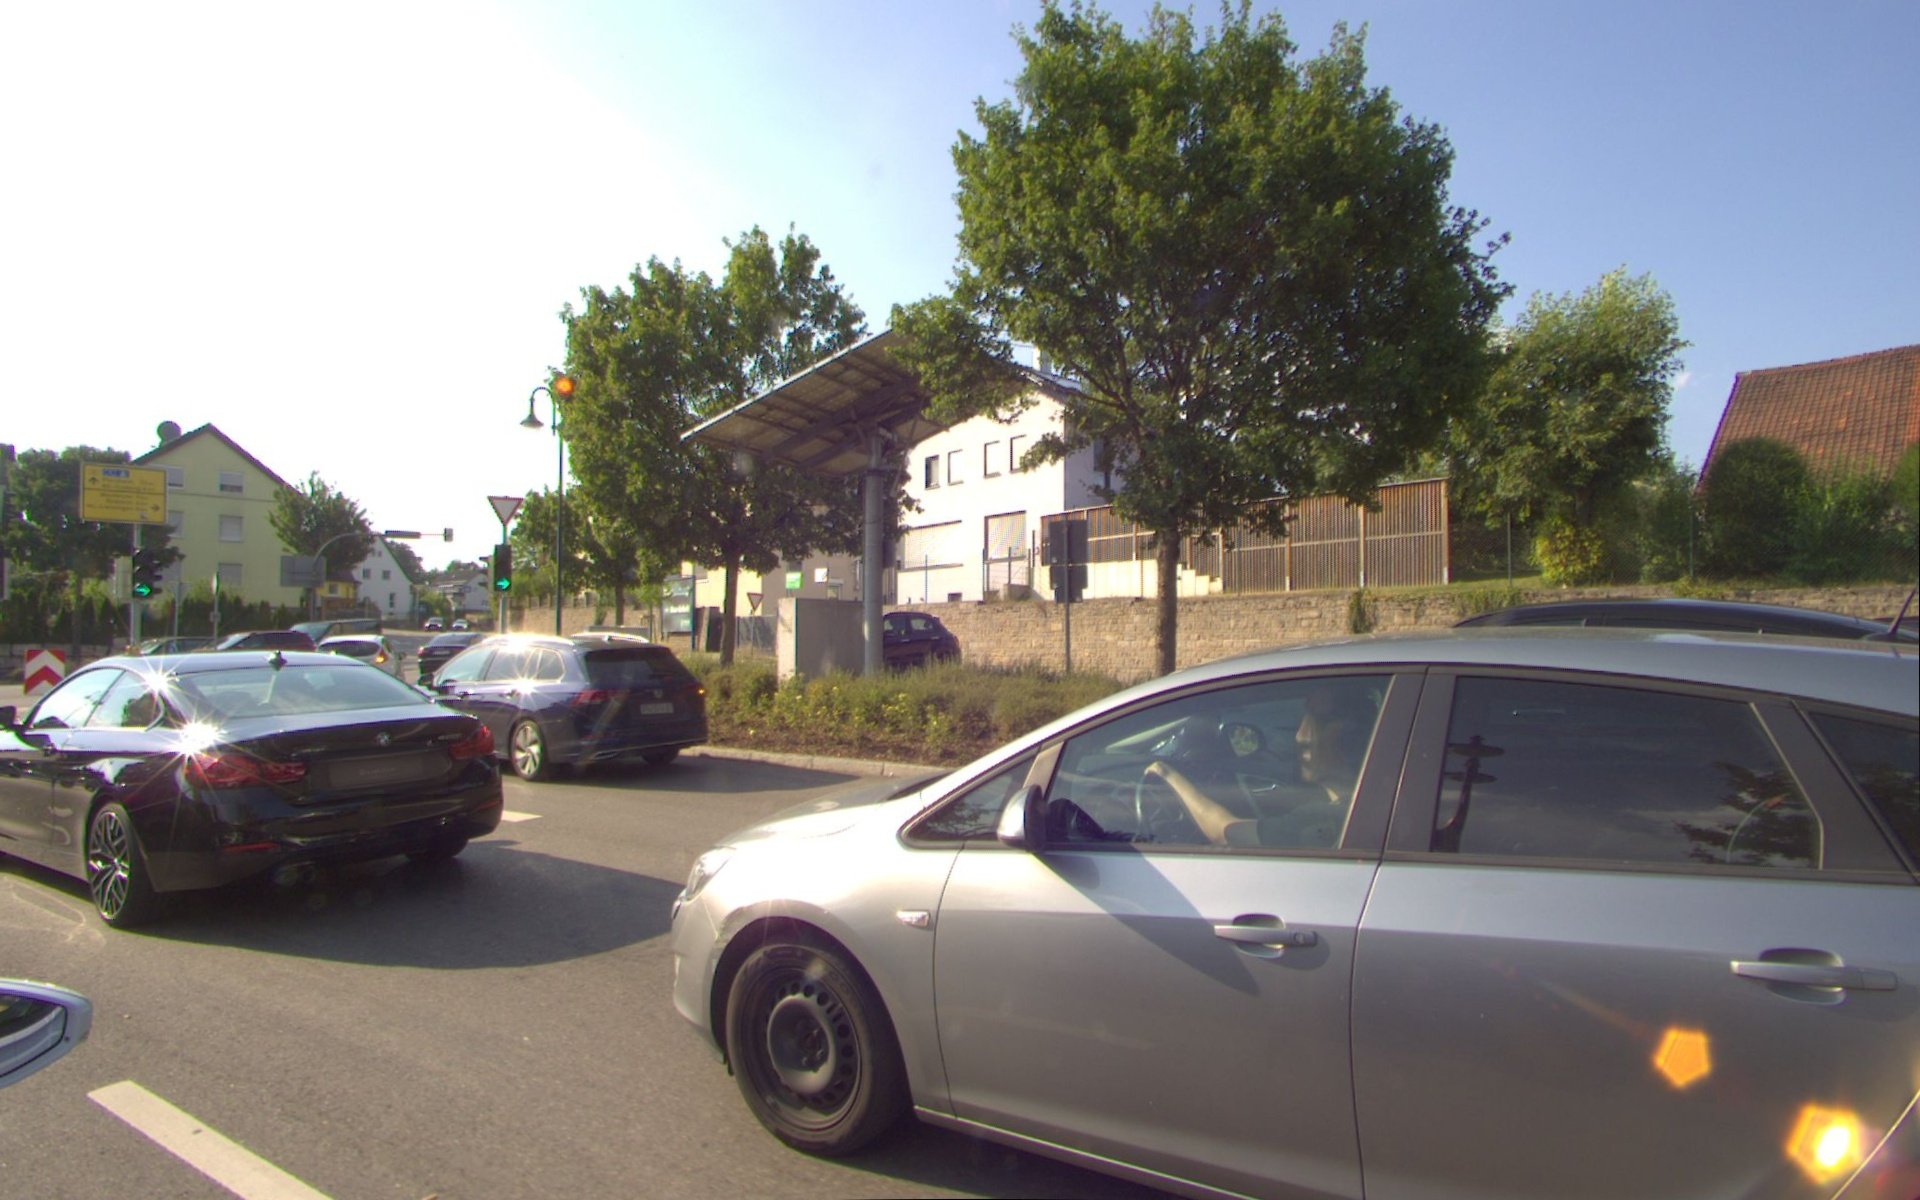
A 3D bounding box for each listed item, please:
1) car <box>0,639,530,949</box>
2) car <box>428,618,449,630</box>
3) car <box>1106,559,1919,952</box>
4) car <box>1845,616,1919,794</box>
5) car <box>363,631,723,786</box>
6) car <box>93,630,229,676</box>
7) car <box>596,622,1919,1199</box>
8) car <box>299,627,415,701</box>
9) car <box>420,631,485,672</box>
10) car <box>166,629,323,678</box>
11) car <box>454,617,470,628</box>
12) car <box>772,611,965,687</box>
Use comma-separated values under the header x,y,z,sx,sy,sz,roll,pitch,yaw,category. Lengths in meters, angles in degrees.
x,y,z,sx,sy,sz,roll,pitch,yaw,category
-4.802,0.953,6.406,4.201,1.386,1.697,-1,-1,32,car
-58.153,2.680,111.703,1.788,1.361,3.988,1,-2,-23,car
3.222,0.690,5.588,4.432,1.586,1.836,-1,-2,33,car
9.512,0.898,9.368,1.728,1.449,3.970,-2,-2,40,car
-4.730,1.073,11.165,4.218,1.428,1.626,-1,-2,33,car
-28.792,1.903,36.192,3.757,1.561,1.585,2,-3,-40,car
1.011,0.805,2.825,4.083,1.441,1.645,-1,-1,31,car
-13.490,1.378,22.617,1.839,1.512,3.986,1,-2,-25,car
-17.698,1.776,35.060,1.788,1.361,3.988,1,-2,-23,car
-25.568,1.874,35.954,1.833,1.646,4.239,-1,-2,27,car
-68.339,3.085,137.510,1.788,1.361,3.988,1,-2,-23,car
-1.878,1.030,21.476,1.662,1.475,4.042,-2,-3,45,car
